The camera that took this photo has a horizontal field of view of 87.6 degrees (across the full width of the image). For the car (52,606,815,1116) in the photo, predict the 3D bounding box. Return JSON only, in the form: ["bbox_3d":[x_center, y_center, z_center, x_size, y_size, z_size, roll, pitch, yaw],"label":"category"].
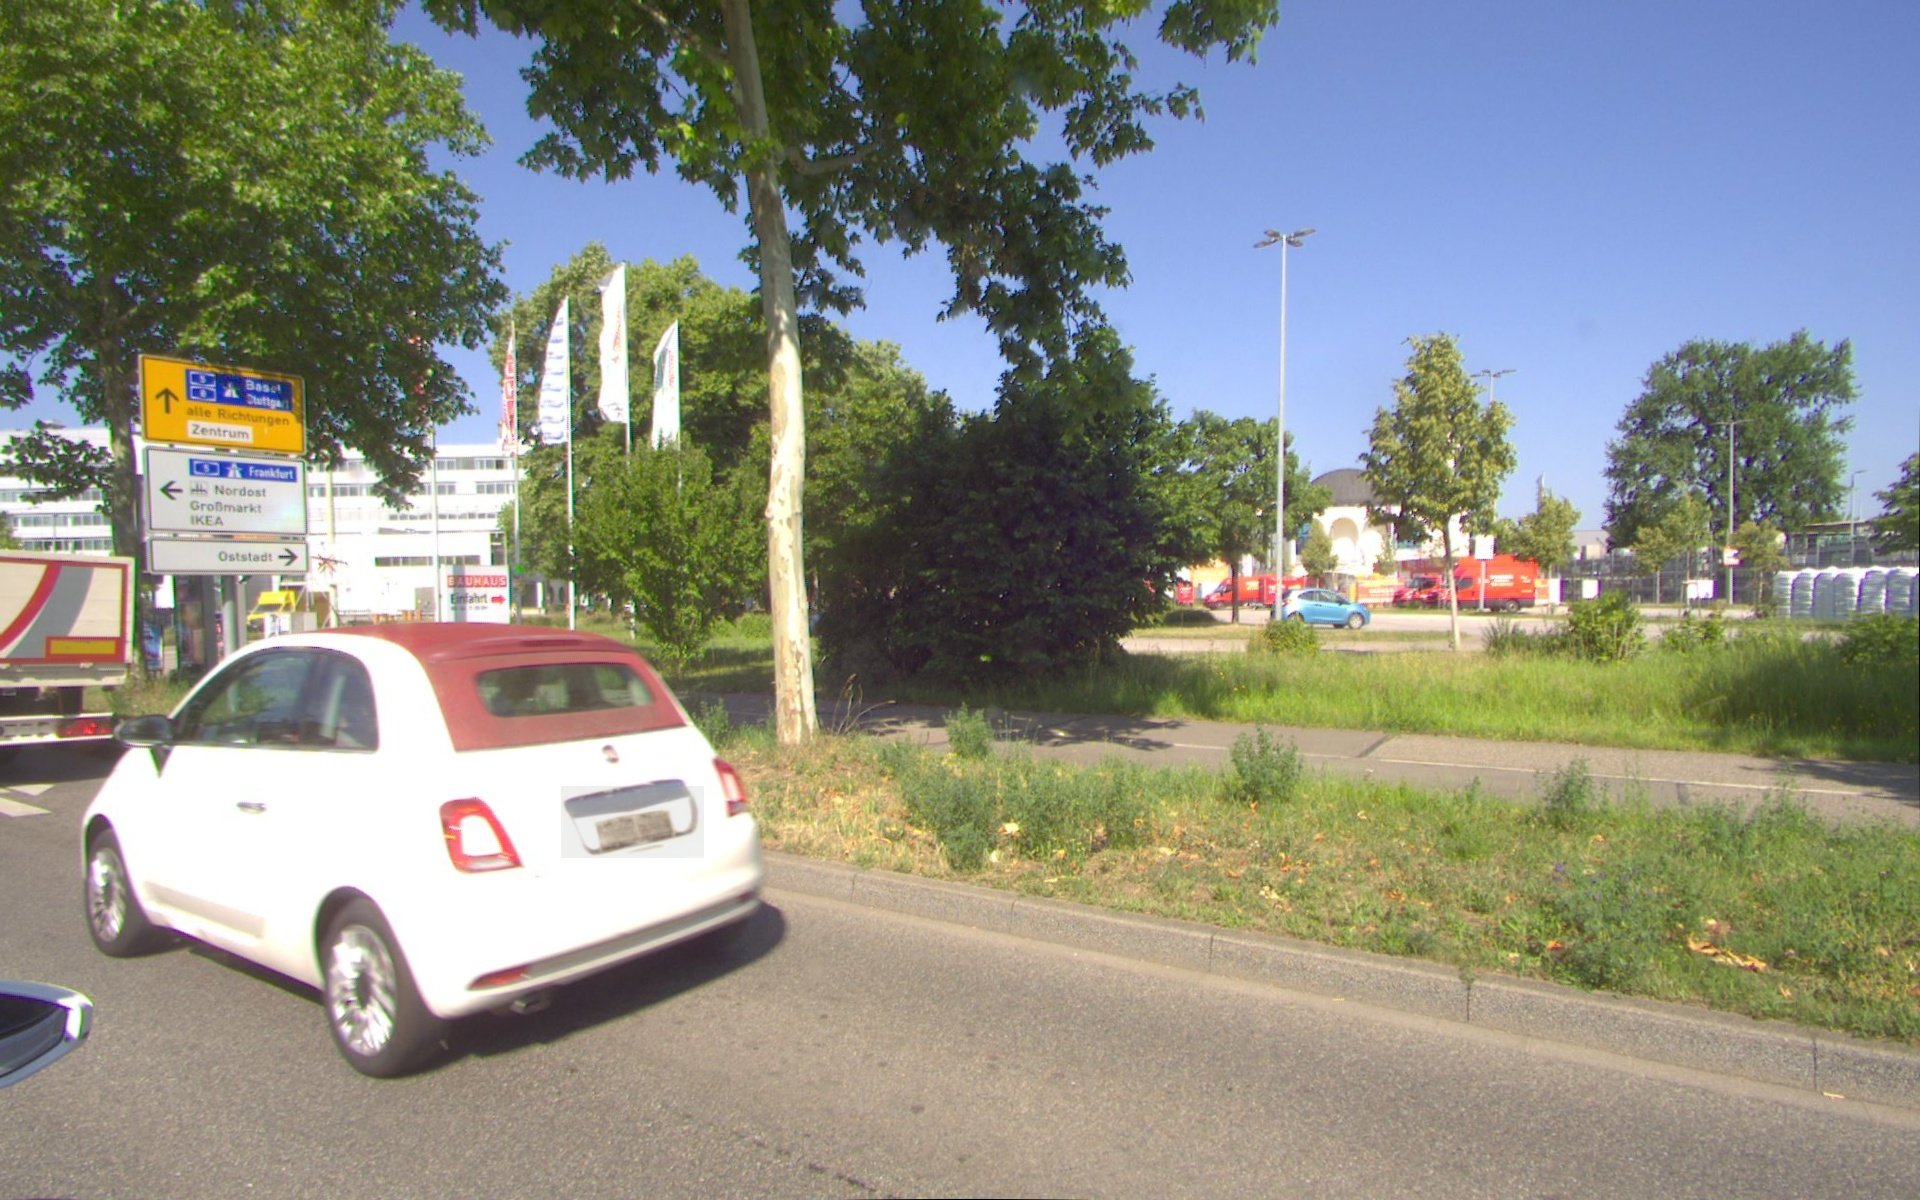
[{"bbox_3d":[-2.502,0.789,4.538,3.472,1.455,1.657,-1,-1,35],"label":"car"}]

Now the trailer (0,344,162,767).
[{"bbox_3d":[-13.781,-0.293,12.037,12.070,3.789,3.009,-1,-1,34],"label":"trailer"}]

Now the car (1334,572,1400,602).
[{"bbox_3d":[29.089,-0.883,71.636,3.922,2.040,2.000,0,-1,2],"label":"car"}]

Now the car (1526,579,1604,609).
[{"bbox_3d":[42.430,-0.420,70.285,4.304,2.040,2.000,0,-1,-2],"label":"car"}]

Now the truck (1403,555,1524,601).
[{"bbox_3d":[37.428,-1.623,74.563,8.067,3.290,2.000,0,-1,-2],"label":"truck"}]

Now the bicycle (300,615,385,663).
[{"bbox_3d":[-16.335,1.019,26.505,0.625,1.229,1.818,-1,-1,38],"label":"bicycle"}]

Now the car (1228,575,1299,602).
[{"bbox_3d":[22.651,-0.839,74.850,4.824,1.906,1.770,0,-1,2],"label":"car"}]

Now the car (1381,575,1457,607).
[{"bbox_3d":[28.516,-0.546,62.289,3.924,1.884,1.999,-1,-1,11],"label":"car"}]

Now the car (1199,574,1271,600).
[{"bbox_3d":[22.080,-1.043,80.498,5.188,2.040,2.000,0,-1,-4],"label":"car"}]

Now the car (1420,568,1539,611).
[{"bbox_3d":[30.279,-0.602,58.484,5.823,2.371,2.115,0,-1,2],"label":"car"}]

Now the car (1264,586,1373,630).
[{"bbox_3d":[13.193,0.304,37.007,3.387,1.591,1.745,0,-1,-2],"label":"car"}]
